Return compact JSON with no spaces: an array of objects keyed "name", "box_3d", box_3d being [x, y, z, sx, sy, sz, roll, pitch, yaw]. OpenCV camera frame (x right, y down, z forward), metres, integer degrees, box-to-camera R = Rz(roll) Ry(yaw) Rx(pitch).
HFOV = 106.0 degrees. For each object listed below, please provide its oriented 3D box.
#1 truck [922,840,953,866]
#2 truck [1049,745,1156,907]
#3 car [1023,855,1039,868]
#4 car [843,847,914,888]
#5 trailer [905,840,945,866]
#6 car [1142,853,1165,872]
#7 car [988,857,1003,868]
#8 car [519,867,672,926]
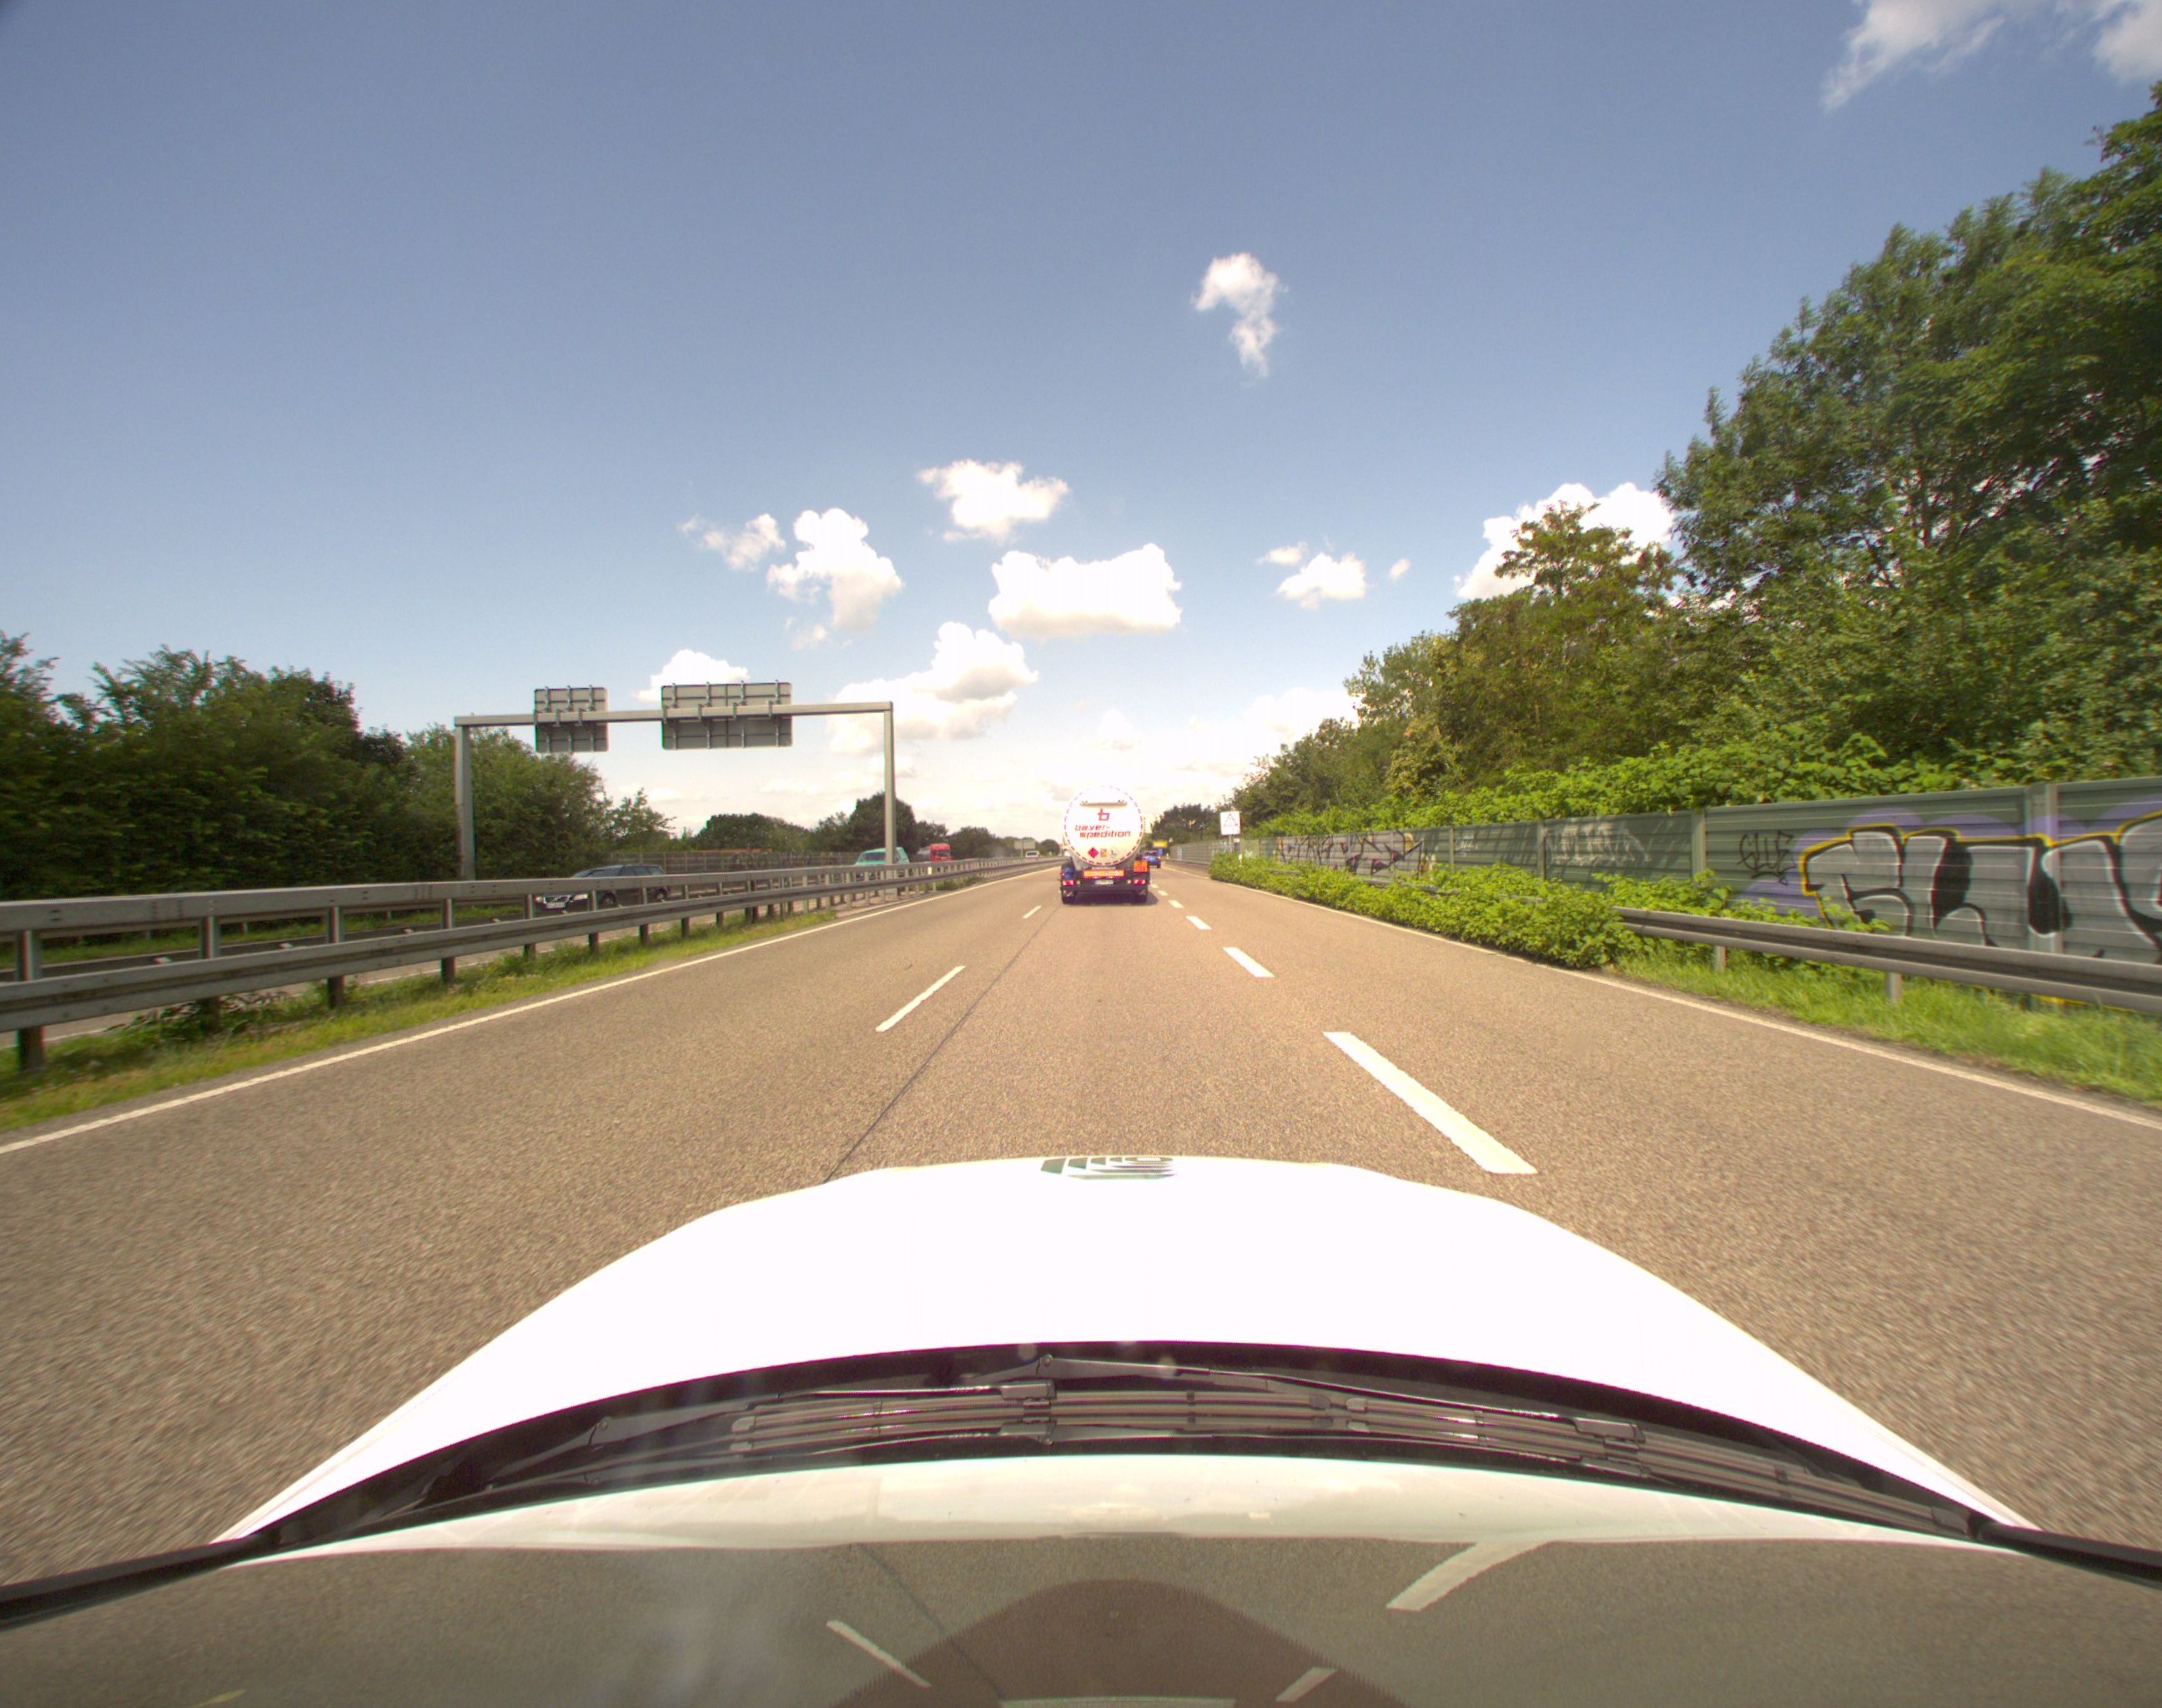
[{"name":"truck","box_3d":[-20.997,-0.115,119.056,2.664,3.782,6.174,0,-1,-29]},{"name":"truck","box_3d":[0.710,-0.739,25.981,2.884,4.369,8.033,0,0,2]},{"name":"car","box_3d":[-7.272,1.087,119.565,2.073,1.989,5.228,0,0,0]},{"name":"car","box_3d":[-9.730,0.624,39.652,1.986,1.863,5.394,0,0,2]},{"name":"trailer","box_3d":[-23.979,-0.109,124.489,2.700,3.670,10.925,0,0,-29]},{"name":"car","box_3d":[6.849,0.819,77.496,1.986,1.706,4.002,0,0,2]},{"name":"car","box_3d":[-11.666,1.118,111.085,1.683,1.431,4.401,0,0,0]},{"name":"car","box_3d":[-14.273,1.184,24.292,1.695,1.575,4.557,0,0,2]}]
